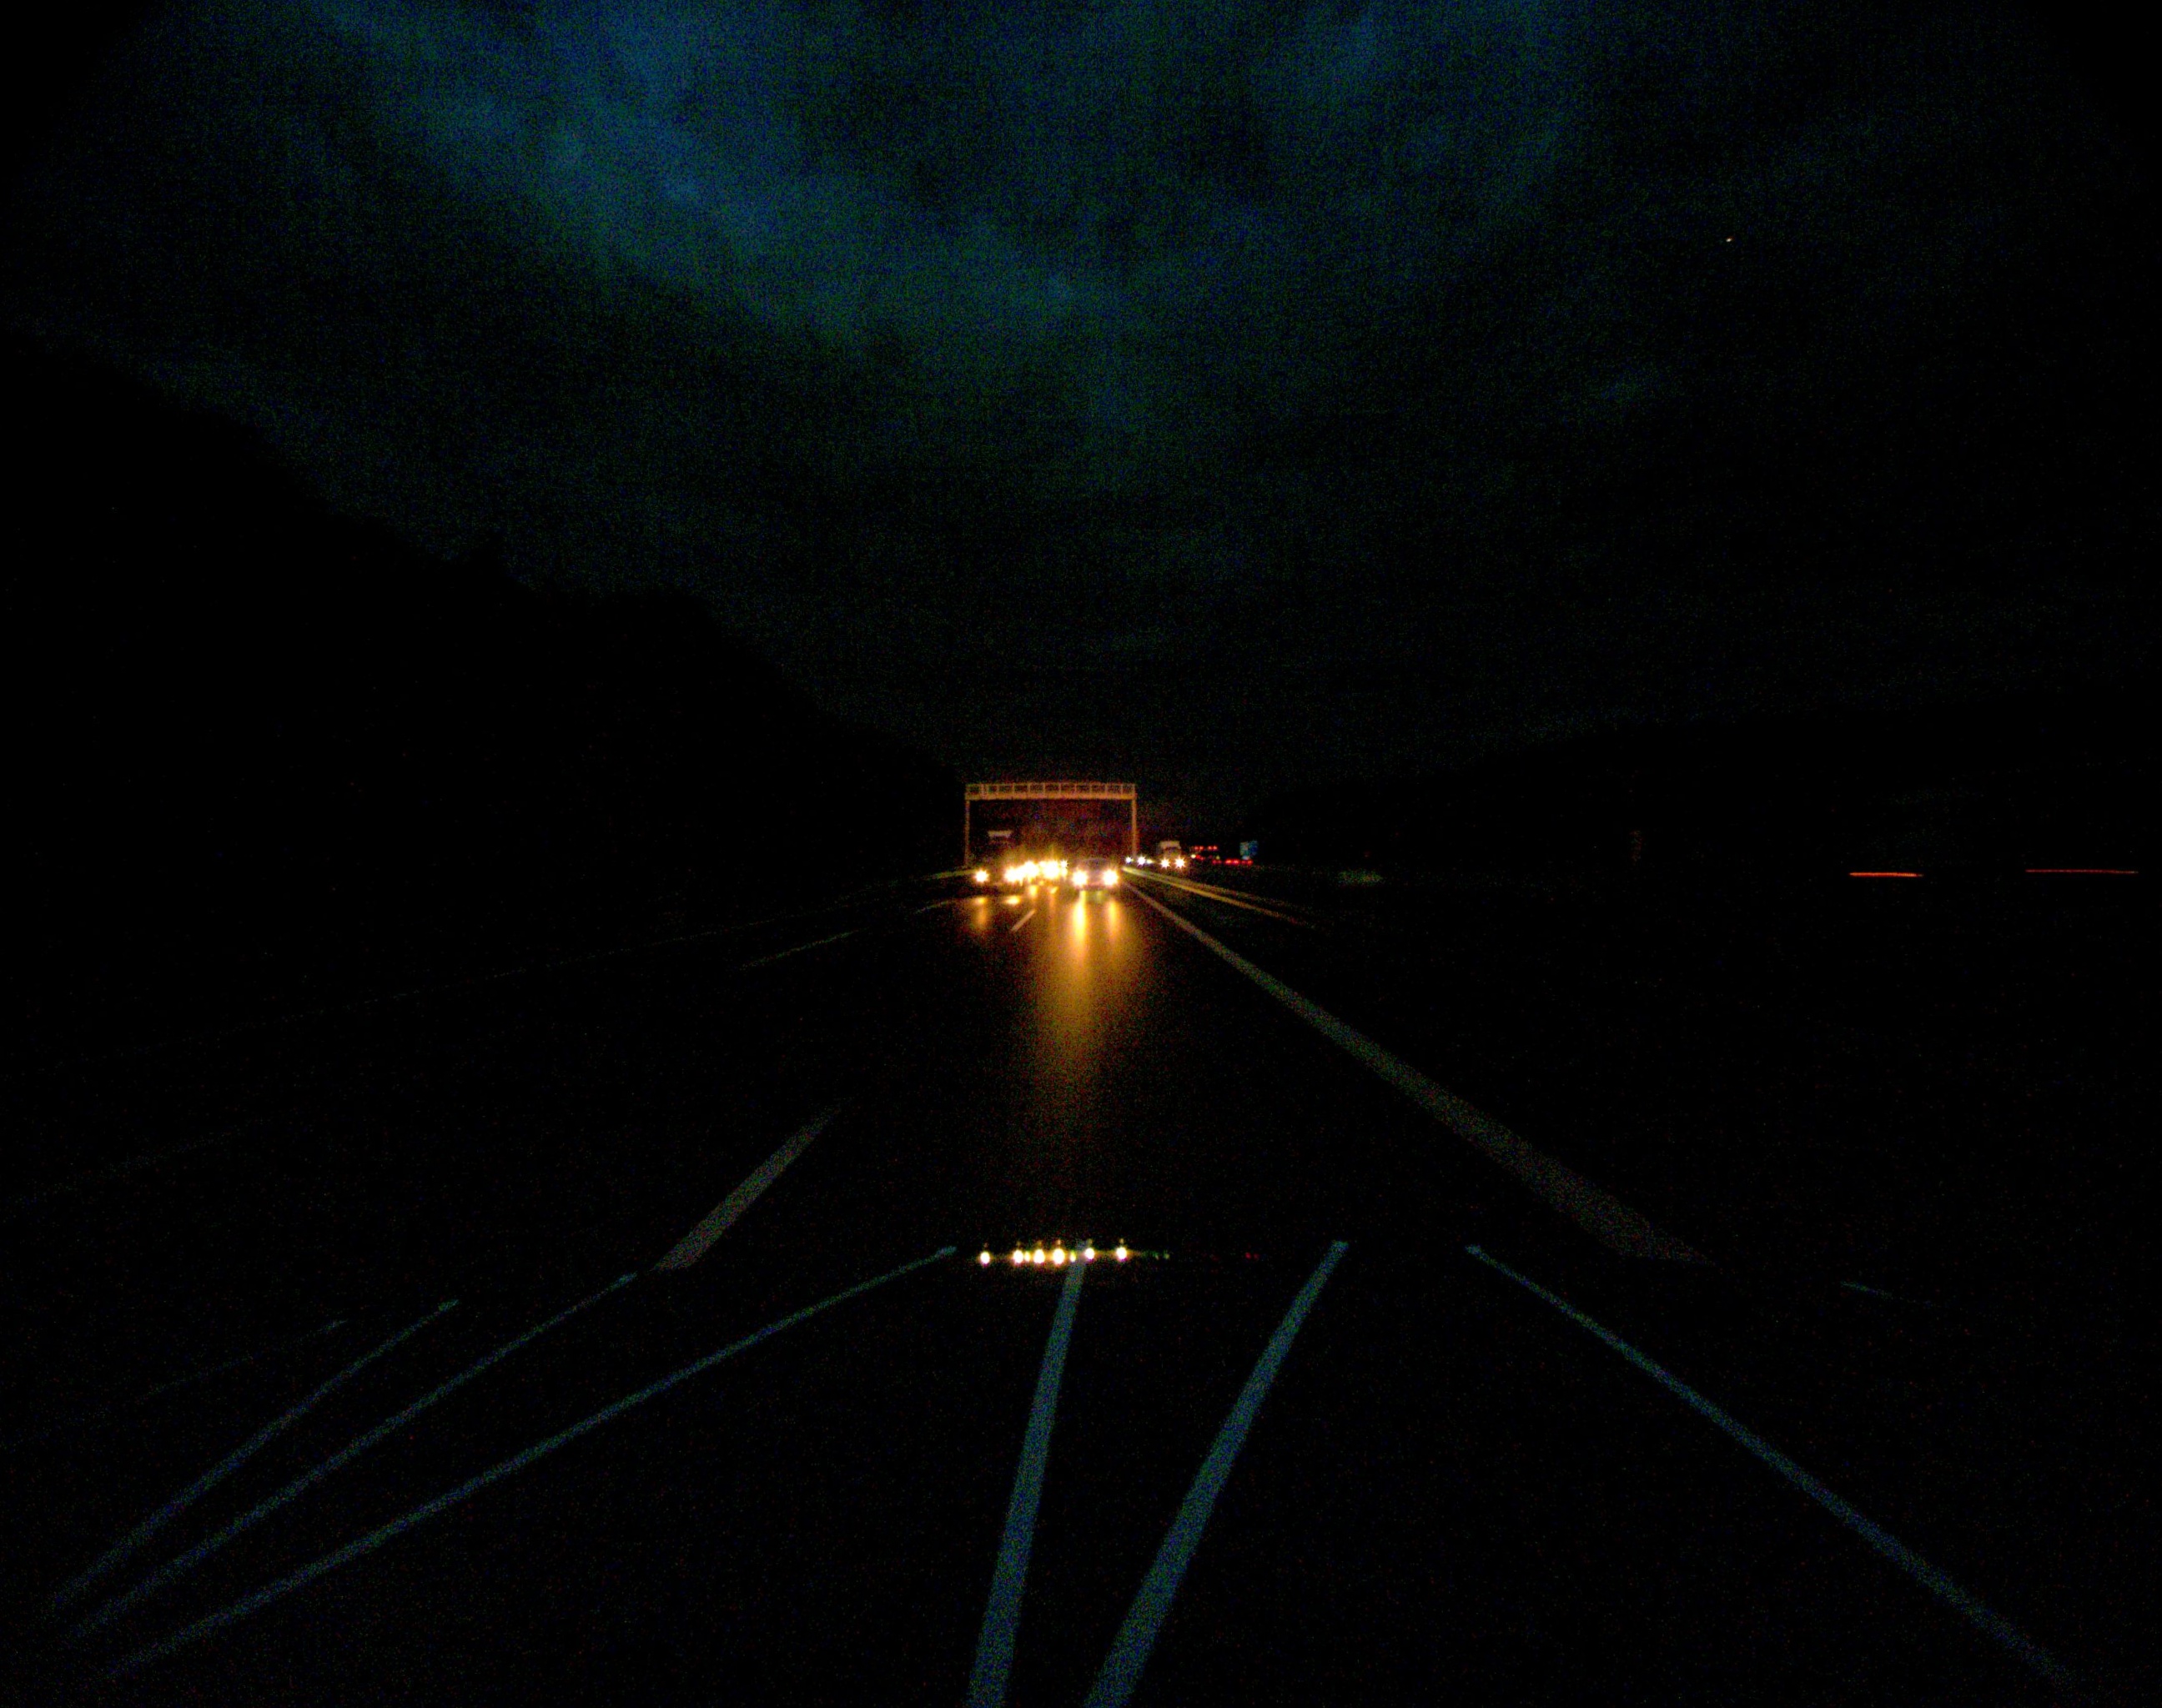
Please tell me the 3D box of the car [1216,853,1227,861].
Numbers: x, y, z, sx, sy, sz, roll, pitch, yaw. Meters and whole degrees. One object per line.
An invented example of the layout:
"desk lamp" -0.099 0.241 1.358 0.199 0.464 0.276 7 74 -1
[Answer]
"car" 35.475 0.709 191.847 1.998 2.002 4.733 0 1 1

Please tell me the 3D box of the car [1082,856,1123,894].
"car" 0.906 0.855 32.778 1.669 1.551 3.756 0 0 1

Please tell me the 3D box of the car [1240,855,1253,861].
"car" 34.513 0.832 158.650 1.772 1.311 3.892 0 1 -1

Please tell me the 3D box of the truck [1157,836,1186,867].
"truck" 12.897 -0.444 109.544 3.046 4.276 9.890 0 1 0

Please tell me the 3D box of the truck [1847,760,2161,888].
"truck" 28.739 -0.859 24.093 3.318 3.598 5.496 0 1 0

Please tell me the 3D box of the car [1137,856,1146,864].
"car" 14.423 1.468 181.165 1.833 1.674 4.229 -2 0 1

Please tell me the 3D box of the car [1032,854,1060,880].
"car" -2.276 0.843 49.762 1.615 1.546 3.318 -2 1 -1

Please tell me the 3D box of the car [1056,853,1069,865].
"car" -2.683 0.711 109.021 1.803 1.483 5.116 -3 0 -2

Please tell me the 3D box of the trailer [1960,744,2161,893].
"trailer" 28.699 -0.866 16.409 3.335 3.743 13.884 0 1 0

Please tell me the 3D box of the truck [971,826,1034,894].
"truck" -3.765 0.269 37.694 2.274 2.954 6.631 -2 0 0

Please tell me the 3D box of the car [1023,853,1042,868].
"car" -5.681 0.736 89.402 1.802 1.635 5.160 -2 0 0

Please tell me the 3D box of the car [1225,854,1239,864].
"car" 26.206 0.828 131.836 1.686 1.696 3.752 -1 0 1
